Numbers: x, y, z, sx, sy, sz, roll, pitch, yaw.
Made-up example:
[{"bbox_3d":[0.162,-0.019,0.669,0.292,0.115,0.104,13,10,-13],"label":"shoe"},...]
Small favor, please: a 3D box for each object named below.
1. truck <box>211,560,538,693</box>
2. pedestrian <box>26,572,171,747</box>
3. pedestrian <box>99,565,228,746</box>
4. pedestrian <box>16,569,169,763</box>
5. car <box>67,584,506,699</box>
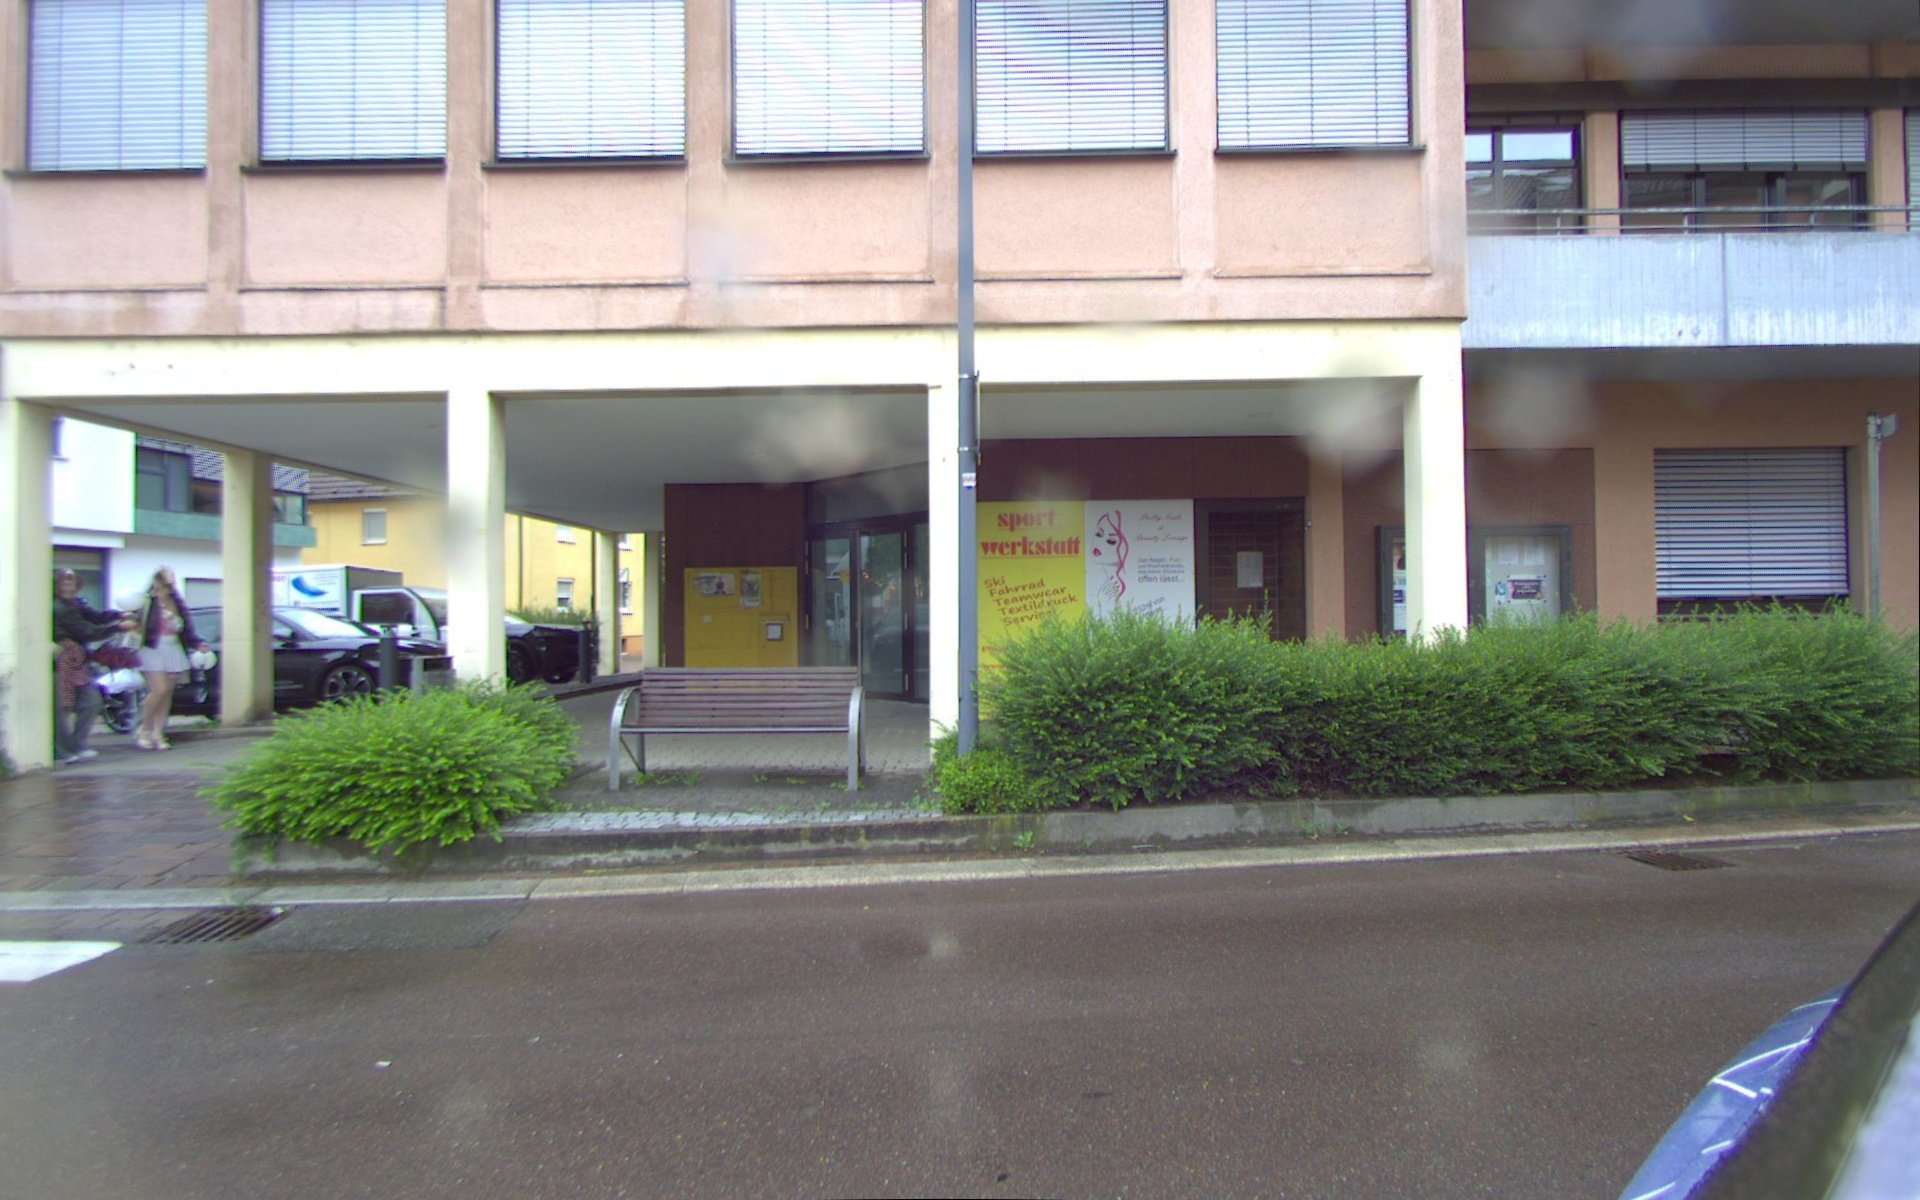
[{"bbox_3d":[-8.651,0.372,15.178,3.925,1.831,1.767,-1,0,2],"label":"truck"},{"bbox_3d":[-8.697,0.570,10.231,0.729,1.660,0.956,-1,-1,33],"label":"pedestrian"},{"bbox_3d":[-7.851,0.528,10.000,0.719,1.711,0.725,-1,-1,-3],"label":"pedestrian"},{"bbox_3d":[-7.845,0.574,9.185,0.804,1.682,0.699,-1,-1,-4],"label":"pedestrian"},{"bbox_3d":[-8.258,0.491,12.656,4.389,1.292,1.767,-1,0,3],"label":"car"}]
